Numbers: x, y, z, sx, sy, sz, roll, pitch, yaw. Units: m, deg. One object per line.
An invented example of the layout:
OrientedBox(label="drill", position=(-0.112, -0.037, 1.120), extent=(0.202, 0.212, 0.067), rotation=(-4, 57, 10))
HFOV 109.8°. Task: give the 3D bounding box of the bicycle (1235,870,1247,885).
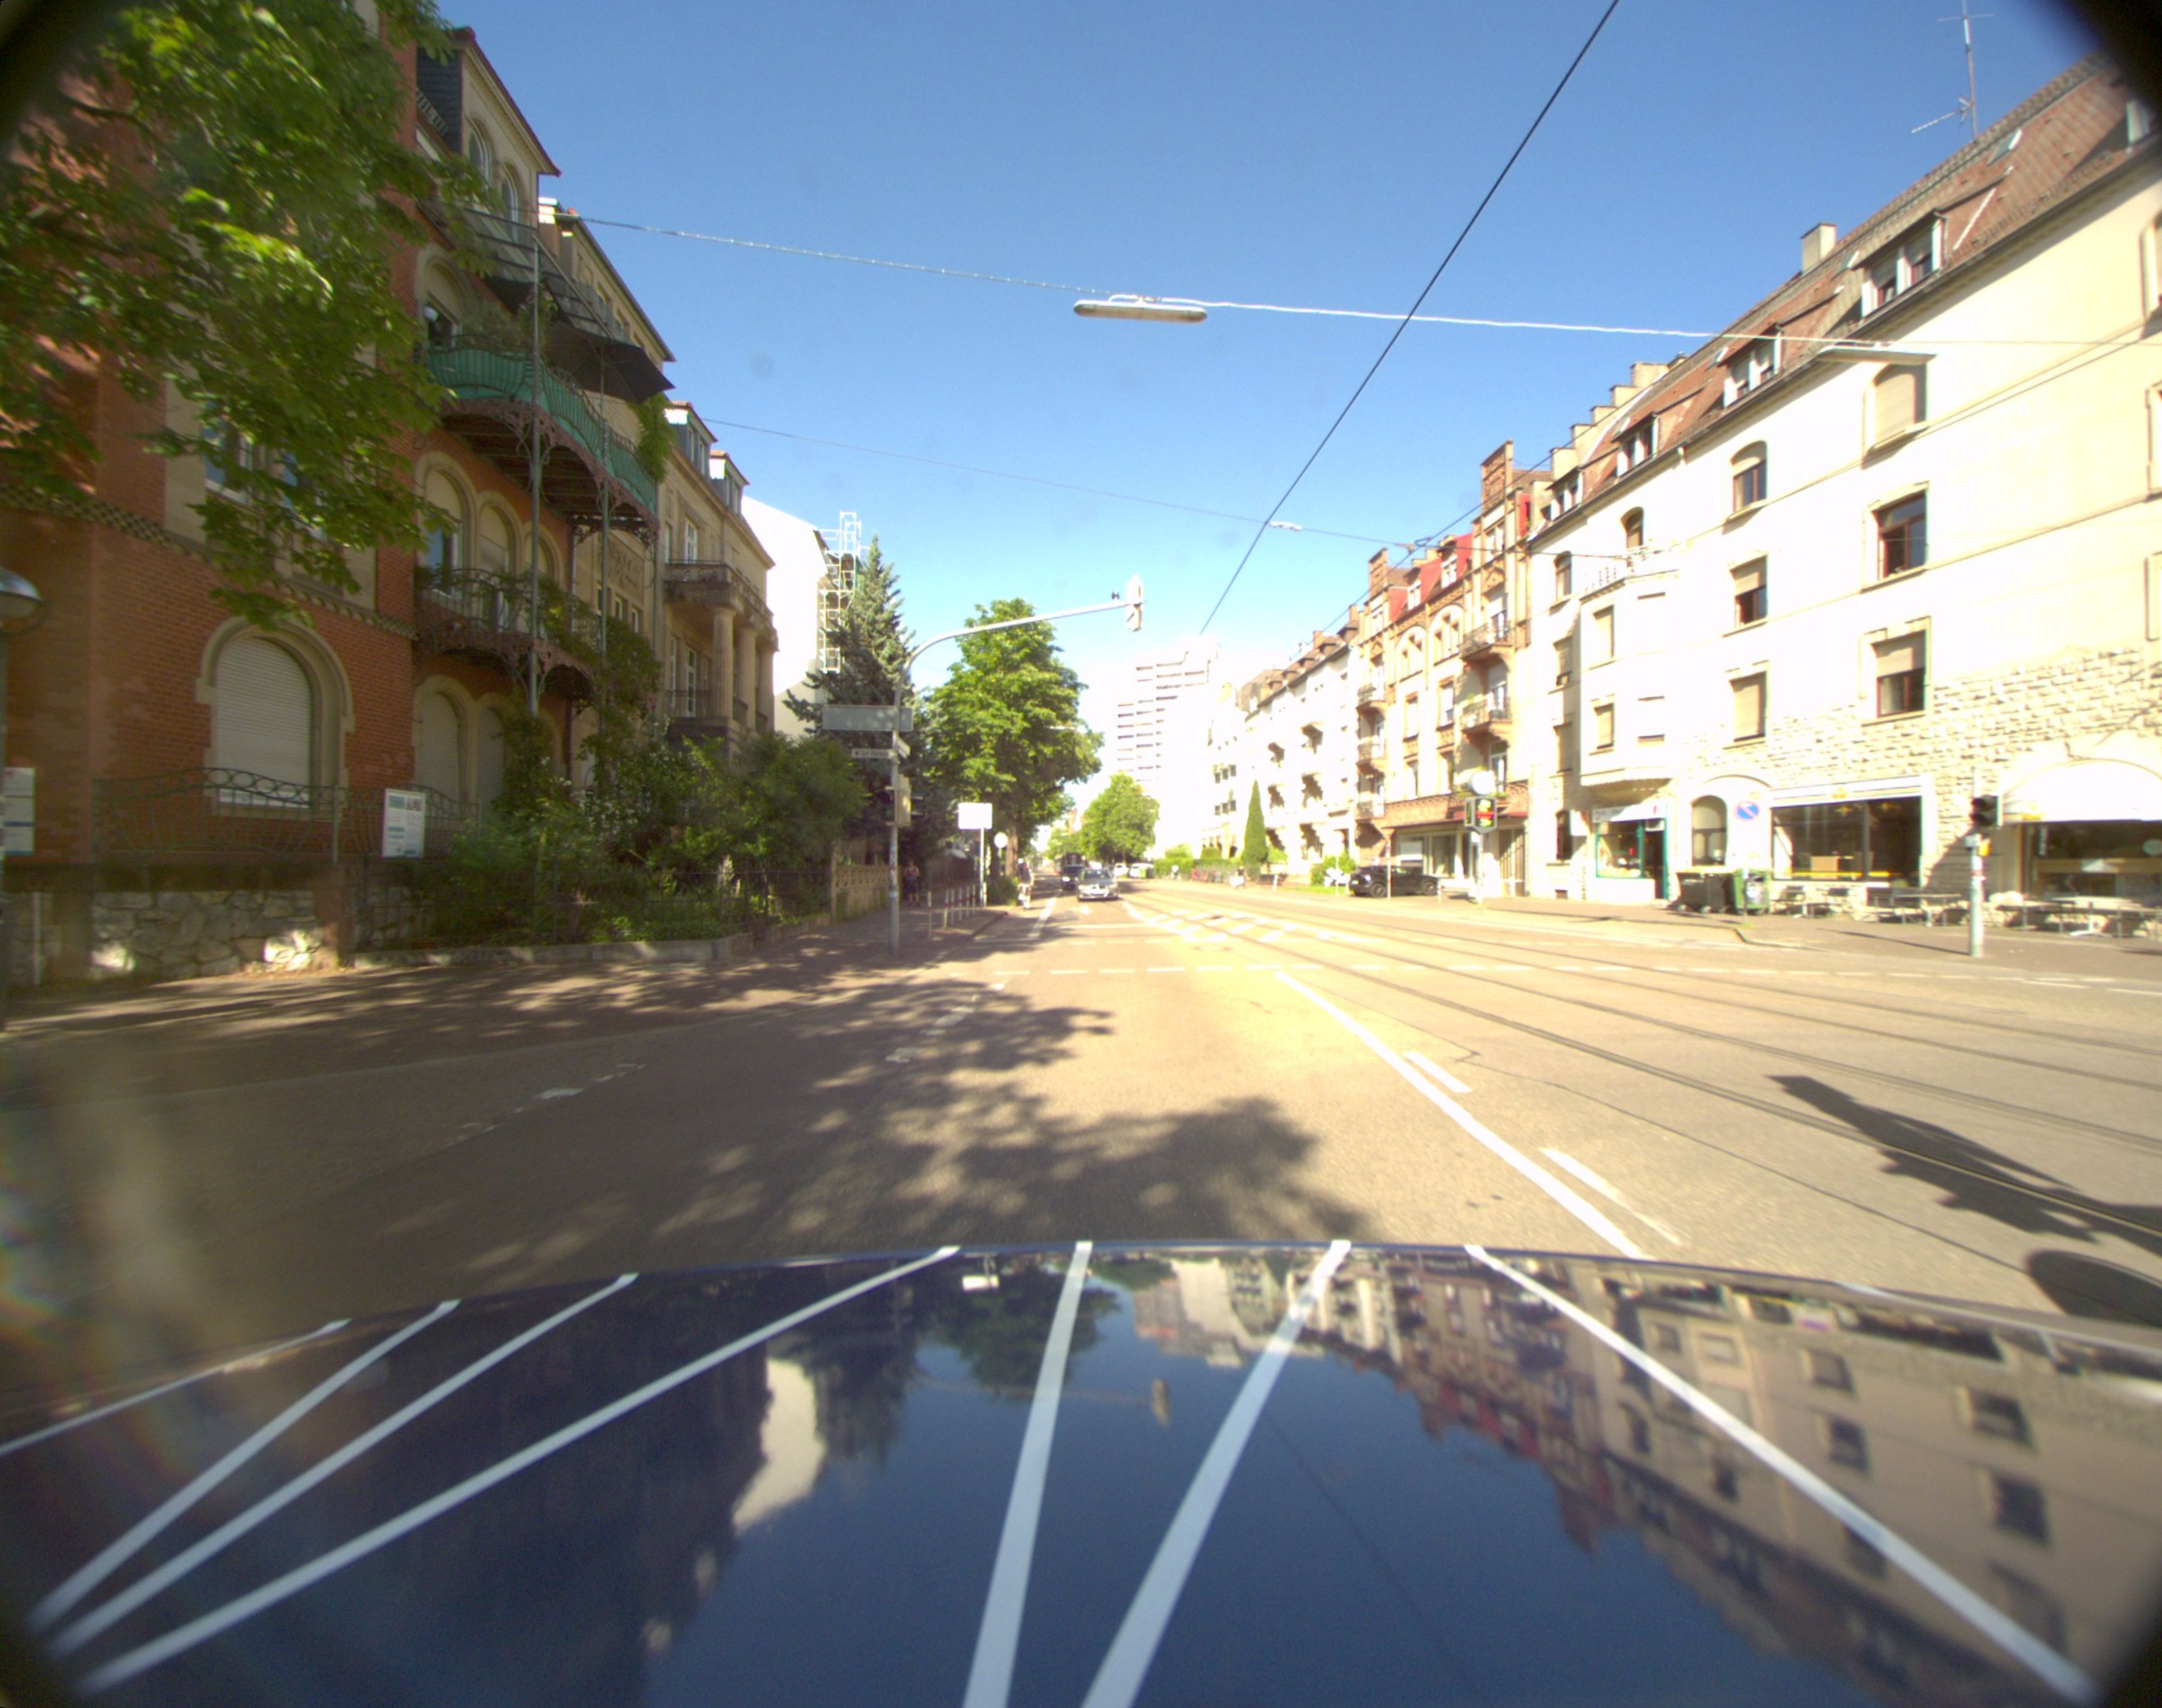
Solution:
OrientedBox(label="bicycle", position=(11.226, 1.632, 53.358), extent=(0.405, 1.033, 1.748), rotation=(-1, 0, -3))

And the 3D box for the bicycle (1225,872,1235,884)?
OrientedBox(label="bicycle", position=(10.901, 1.744, 55.580), extent=(0.318, 0.757, 1.651), rotation=(-1, 0, -3))

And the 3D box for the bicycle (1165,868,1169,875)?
OrientedBox(label="bicycle", position=(8.990, 1.839, 79.382), extent=(0.297, 0.757, 1.263), rotation=(-1, 0, -3))

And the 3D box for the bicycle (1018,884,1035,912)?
OrientedBox(label="bicycle", position=(-1.968, 1.585, 27.734), extent=(0.535, 0.916, 2.056), rotation=(-1, 0, -2))

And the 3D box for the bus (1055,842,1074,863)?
OrientedBox(label="bus", position=(-3.117, -0.250, 141.608), extent=(2.868, 3.755, 11.492), rotation=(-1, 0, -5))

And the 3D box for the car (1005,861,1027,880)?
OrientedBox(label="car", position=(-5.842, 1.416, 68.039), extent=(1.878, 1.534, 4.363), rotation=(2, 0, -6))

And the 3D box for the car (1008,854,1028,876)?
OrientedBox(label="car", position=(-7.192, 1.230, 86.501), extent=(2.133, 2.329, 5.802), rotation=(2, 0, -6))

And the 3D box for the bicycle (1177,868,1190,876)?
OrientedBox(label="bicycle", position=(10.229, 1.804, 75.833), extent=(1.262, 0.788, 0.297), rotation=(-1, 1, -2))

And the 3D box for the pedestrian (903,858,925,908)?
OrientedBox(label="pedestrian", position=(-5.764, 0.991, 26.260), extent=(0.593, 1.661, 0.646), rotation=(2, 1, -3))

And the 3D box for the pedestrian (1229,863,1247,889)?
OrientedBox(label="pedestrian", position=(10.366, 1.417, 50.092), extent=(0.869, 1.619, 0.870), rotation=(-5, 1, -3))

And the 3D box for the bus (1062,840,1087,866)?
OrientedBox(label="bus", position=(-1.104, -0.176, 118.678), extent=(2.858, 3.755, 12.191), rotation=(-1, 0, -5))

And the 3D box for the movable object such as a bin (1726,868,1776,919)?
OrientedBox(label="movable object such as a bin", position=(18.816, 1.089, 21.339), extent=(1.024, 1.373, 0.859), rotation=(0, 1, 42))

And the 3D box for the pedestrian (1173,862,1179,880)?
OrientedBox(label="pedestrian", position=(8.732, 1.526, 69.700), extent=(0.476, 1.619, 0.659), rotation=(-1, 1, -3))

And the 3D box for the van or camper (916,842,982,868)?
OrientedBox(label="van or camper", position=(-14.014, 0.092, 80.503), extent=(6.722, 2.612, 2.126), rotation=(-1, 1, 21))

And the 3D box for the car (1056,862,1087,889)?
OrientedBox(label="car", position=(-0.623, 1.293, 48.038), extent=(1.829, 1.559, 3.999), rotation=(-1, 0, -3))

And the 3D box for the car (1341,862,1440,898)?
OrientedBox(label="car", position=(14.807, 1.213, 36.441), extent=(4.000, 1.494, 1.770), rotation=(-3, 1, -9))

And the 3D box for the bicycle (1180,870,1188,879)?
OrientedBox(label="bicycle", position=(9.632, 1.896, 71.116), extent=(0.405, 0.757, 1.581), rotation=(-1, 0, -3))

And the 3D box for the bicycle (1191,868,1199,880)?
OrientedBox(label="bicycle", position=(9.992, 1.719, 66.704), extent=(0.405, 1.018, 1.815), rotation=(-1, 0, -3))

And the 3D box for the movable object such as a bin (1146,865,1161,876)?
OrientedBox(label="movable object such as a bin", position=(8.671, 1.955, 90.874), extent=(1.501, 1.309, 2.095), rotation=(-1, 0, -3))

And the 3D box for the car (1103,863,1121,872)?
OrientedBox(label="car", position=(5.131, 2.275, 126.408), extent=(2.758, 1.417, 1.225), rotation=(-1, 1, -20))

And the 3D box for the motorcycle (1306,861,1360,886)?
OrientedBox(label="motorcycle", position=(15.695, 1.207, 47.318), extent=(3.094, 1.448, 0.823), rotation=(-1, 1, -5))

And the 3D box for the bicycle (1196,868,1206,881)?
OrientedBox(label="bicycle", position=(10.171, 1.733, 64.399), extent=(0.405, 1.018, 1.815), rotation=(-1, 0, -3))

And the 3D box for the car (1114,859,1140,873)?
OrientedBox(label="car", position=(6.525, 1.670, 106.675), extent=(1.917, 1.860, 3.450), rotation=(0, 1, 42))

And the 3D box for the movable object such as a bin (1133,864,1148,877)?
OrientedBox(label="movable object such as a bin", position=(7.019, 1.927, 89.807), extent=(1.513, 1.424, 2.095), rotation=(-1, 0, -3))

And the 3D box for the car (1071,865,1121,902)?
OrientedBox(label="car", position=(0.581, 1.214, 32.668), extent=(1.870, 1.426, 3.999), rotation=(-1, 0, -3))

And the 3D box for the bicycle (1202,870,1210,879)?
OrientedBox(label="bicycle", position=(10.308, 1.692, 62.656), extent=(0.318, 0.757, 1.542), rotation=(-1, 0, -3))

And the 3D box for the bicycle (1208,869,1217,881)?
OrientedBox(label="bicycle", position=(10.529, 1.679, 60.877), extent=(0.405, 0.937, 1.648), rotation=(-1, 0, -3))

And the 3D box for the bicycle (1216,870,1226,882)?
OrientedBox(label="bicycle", position=(10.835, 1.701, 58.886), extent=(0.405, 0.937, 1.748), rotation=(-1, 0, -3))

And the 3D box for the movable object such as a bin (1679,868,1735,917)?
OrientedBox(label="movable object such as a bin", position=(18.395, 1.116, 22.347), extent=(0.856, 1.373, 1.028), rotation=(-1, 1, 9))

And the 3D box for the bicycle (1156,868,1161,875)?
OrientedBox(label="bicycle", position=(8.578, 1.935, 84.099), extent=(0.297, 0.757, 1.263), rotation=(-1, 0, -3))

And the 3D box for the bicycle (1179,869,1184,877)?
OrientedBox(label="bicycle", position=(9.604, 1.814, 72.614), extent=(0.339, 0.757, 1.263), rotation=(-1, 0, -3))

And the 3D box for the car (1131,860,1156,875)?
OrientedBox(label="car", position=(7.712, 1.671, 93.256), extent=(1.456, 1.763, 3.194), rotation=(0, -2, 42))

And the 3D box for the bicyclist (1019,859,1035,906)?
OrientedBox(label="bicyclist", position=(-1.971, 1.025, 27.720), extent=(0.532, 1.660, 0.878), rotation=(-1, 1, -2))

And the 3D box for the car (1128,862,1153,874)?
OrientedBox(label="car", position=(7.502, 1.811, 96.258), extent=(2.758, 1.427, 1.457), rotation=(-1, 1, -20))

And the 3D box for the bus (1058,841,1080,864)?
OrientedBox(label="bus", position=(-2.114, -0.213, 130.253), extent=(2.868, 3.755, 11.177), rotation=(-1, 0, -5))
